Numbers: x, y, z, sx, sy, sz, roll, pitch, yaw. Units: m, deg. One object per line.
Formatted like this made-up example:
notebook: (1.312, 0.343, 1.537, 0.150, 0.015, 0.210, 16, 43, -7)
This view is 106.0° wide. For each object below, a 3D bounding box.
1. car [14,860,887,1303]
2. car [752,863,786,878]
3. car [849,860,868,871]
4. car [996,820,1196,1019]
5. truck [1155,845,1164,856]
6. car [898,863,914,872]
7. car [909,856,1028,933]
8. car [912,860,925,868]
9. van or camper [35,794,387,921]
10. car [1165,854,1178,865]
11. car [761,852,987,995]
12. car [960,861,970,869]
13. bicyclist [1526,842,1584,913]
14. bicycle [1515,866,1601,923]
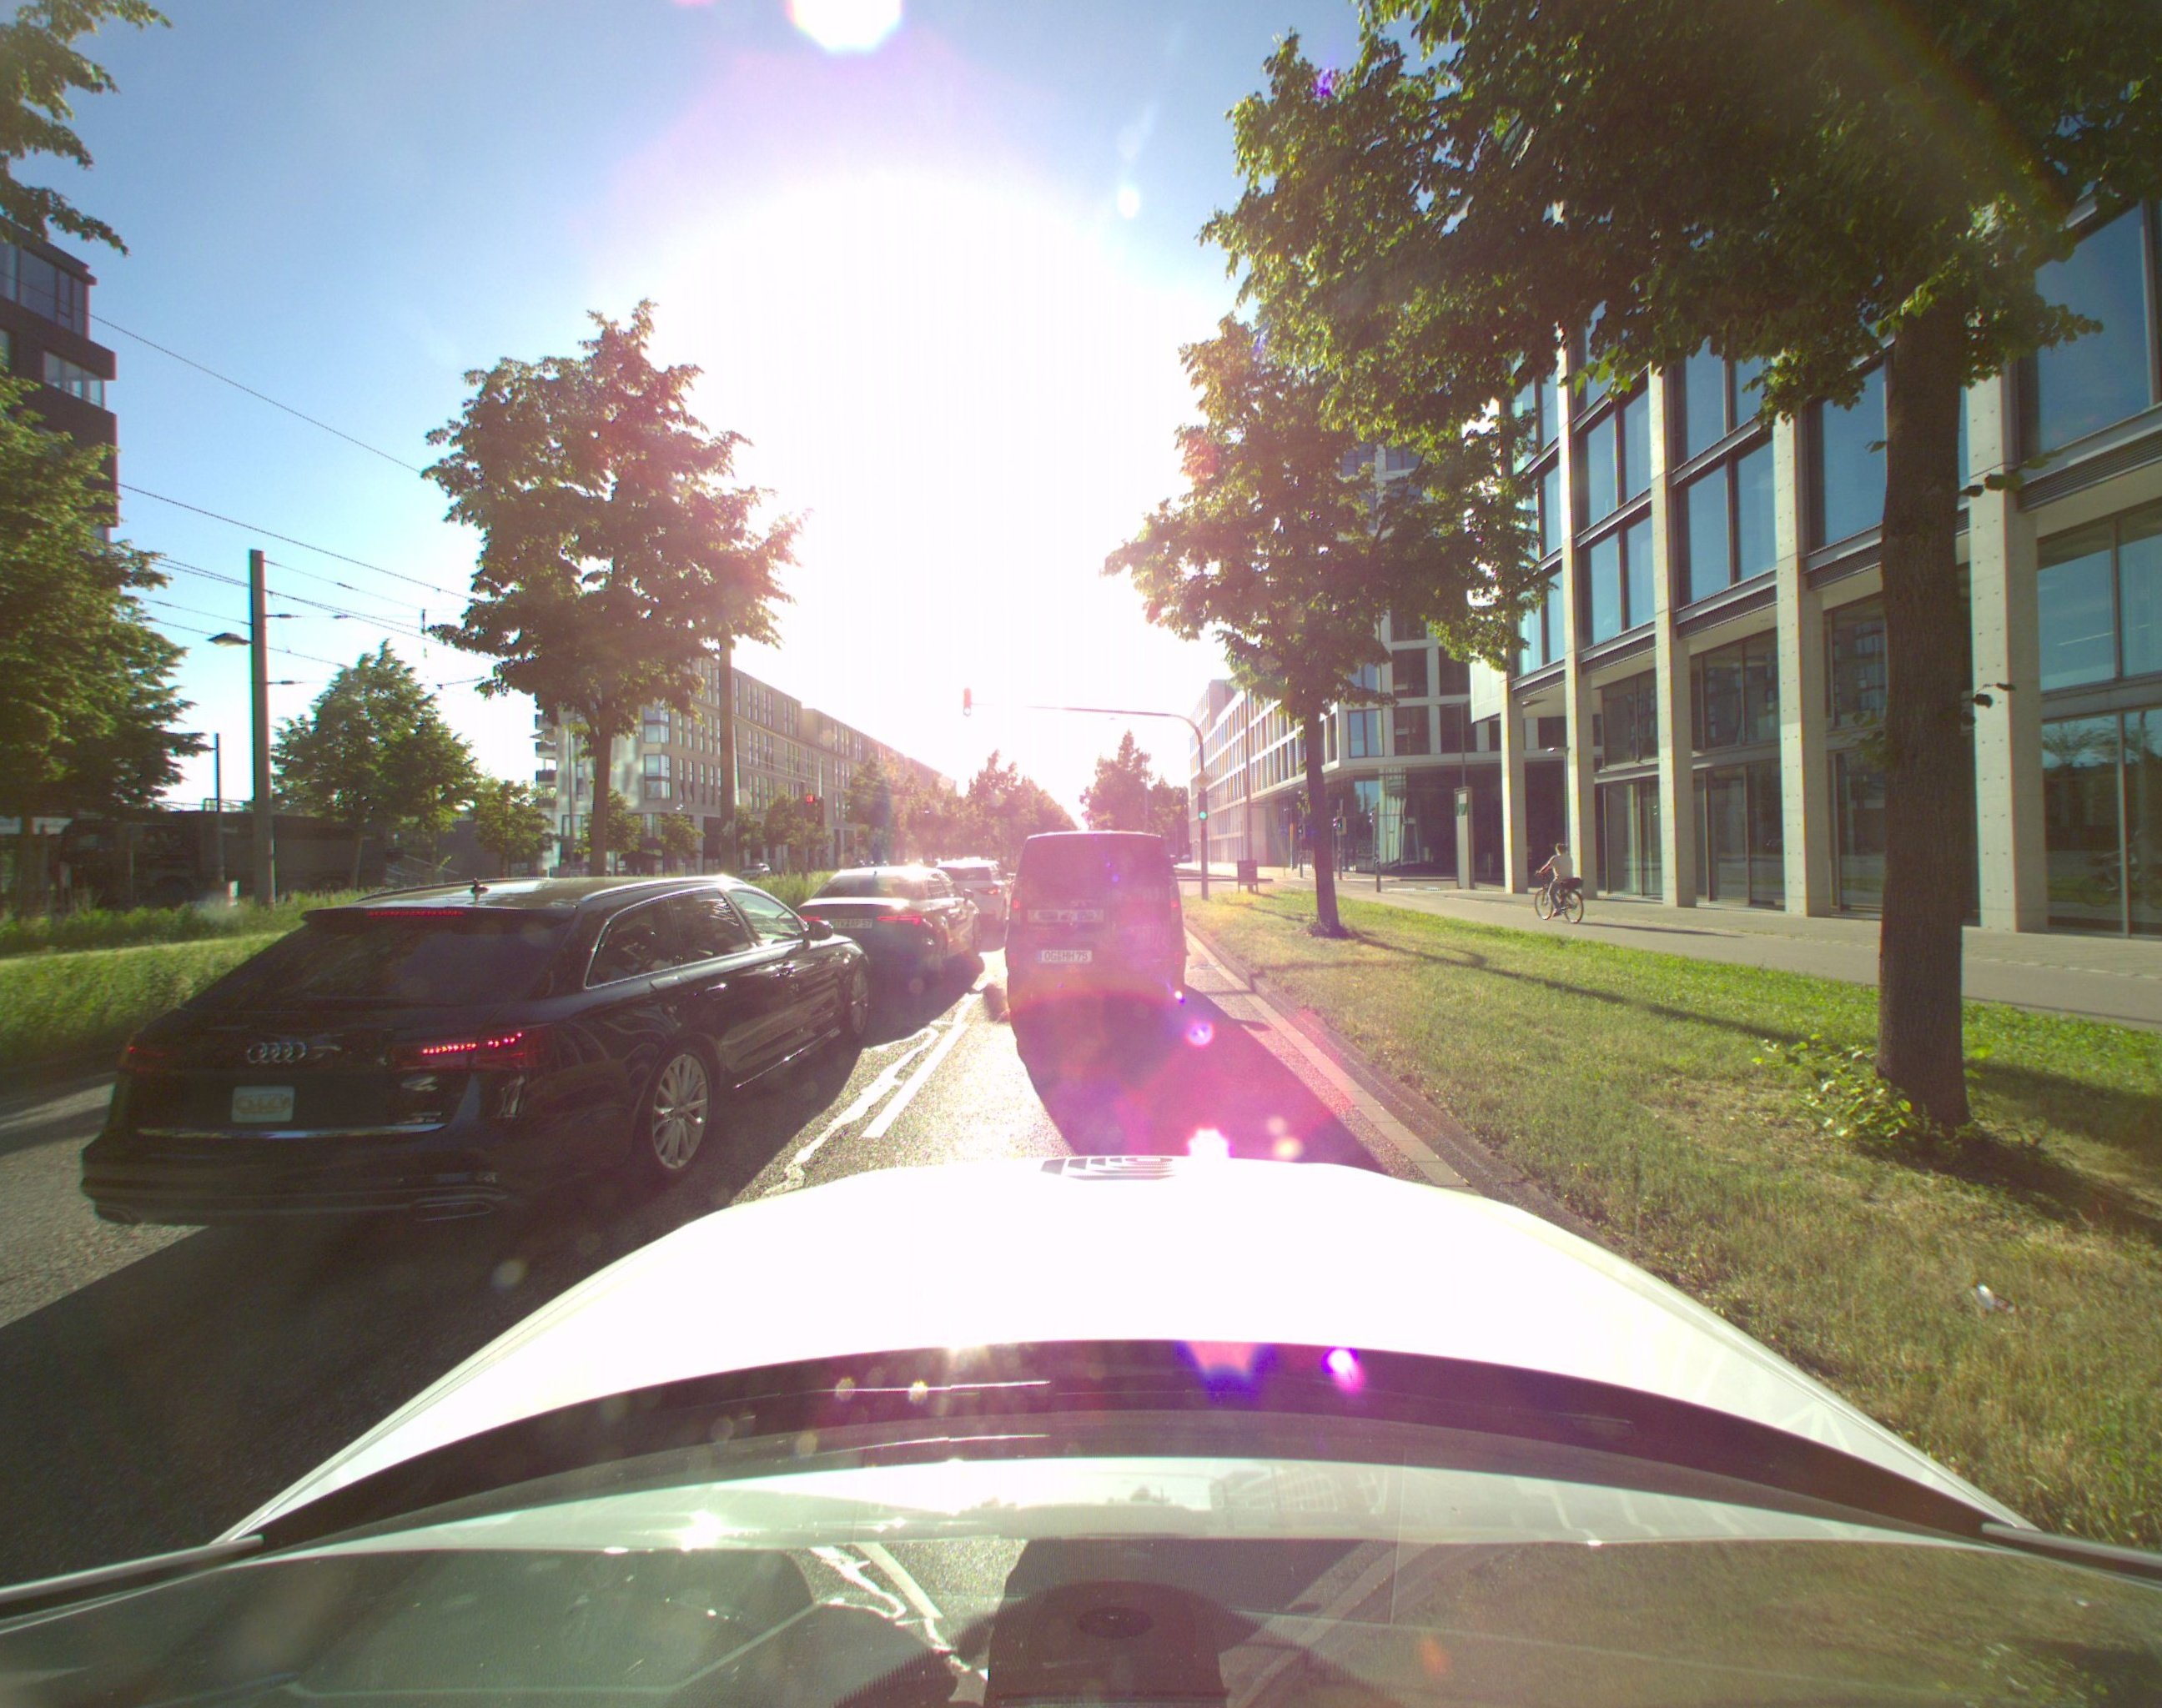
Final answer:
car: (-2.723, 0.805, 5.066, 1.801, 1.457, 4.509, -1, 0, 2)
car: (-30.770, 1.604, 80.501, 1.574, 1.342, 4.473, -1, 0, 1)
car: (-30.481, 1.549, 111.676, 1.574, 1.342, 3.713, -1, 0, 1)
car: (0.232, 0.604, 9.531, 1.801, 1.794, 4.115, -1, 0, 2)
truck: (19.050, -0.754, 198.498, 1.825, 2.501, 5.934, -1, -1, 1)
car: (-29.578, 2.253, 137.652, 1.769, 1.528, 3.807, -1, 0, 1)
car: (-2.304, 0.778, 17.682, 1.801, 1.434, 4.115, -1, 0, 2)
car: (-29.958, 1.874, 150.150, 1.574, 1.342, 3.713, -1, 0, 1)
van or camper: (-33.514, 0.146, 32.412, 2.743, 4.192, 10.234, -1, 0, 2)
car: (14.214, 0.808, 127.730, 1.750, 1.611, 3.906, -1, 0, 3)
car: (-2.499, 0.761, 10.946, 1.801, 1.527, 4.115, -1, 0, 2)
car: (-28.488, 2.663, 200.118, 1.723, 2.013, 3.999, -1, 0, -1)
bicyclist: (10.540, 0.505, 18.124, 0.768, 1.531, 0.850, -2, 0, 1)
bicycle: (10.548, 0.868, 18.098, 0.739, 1.174, 1.962, -3, -1, 2)
